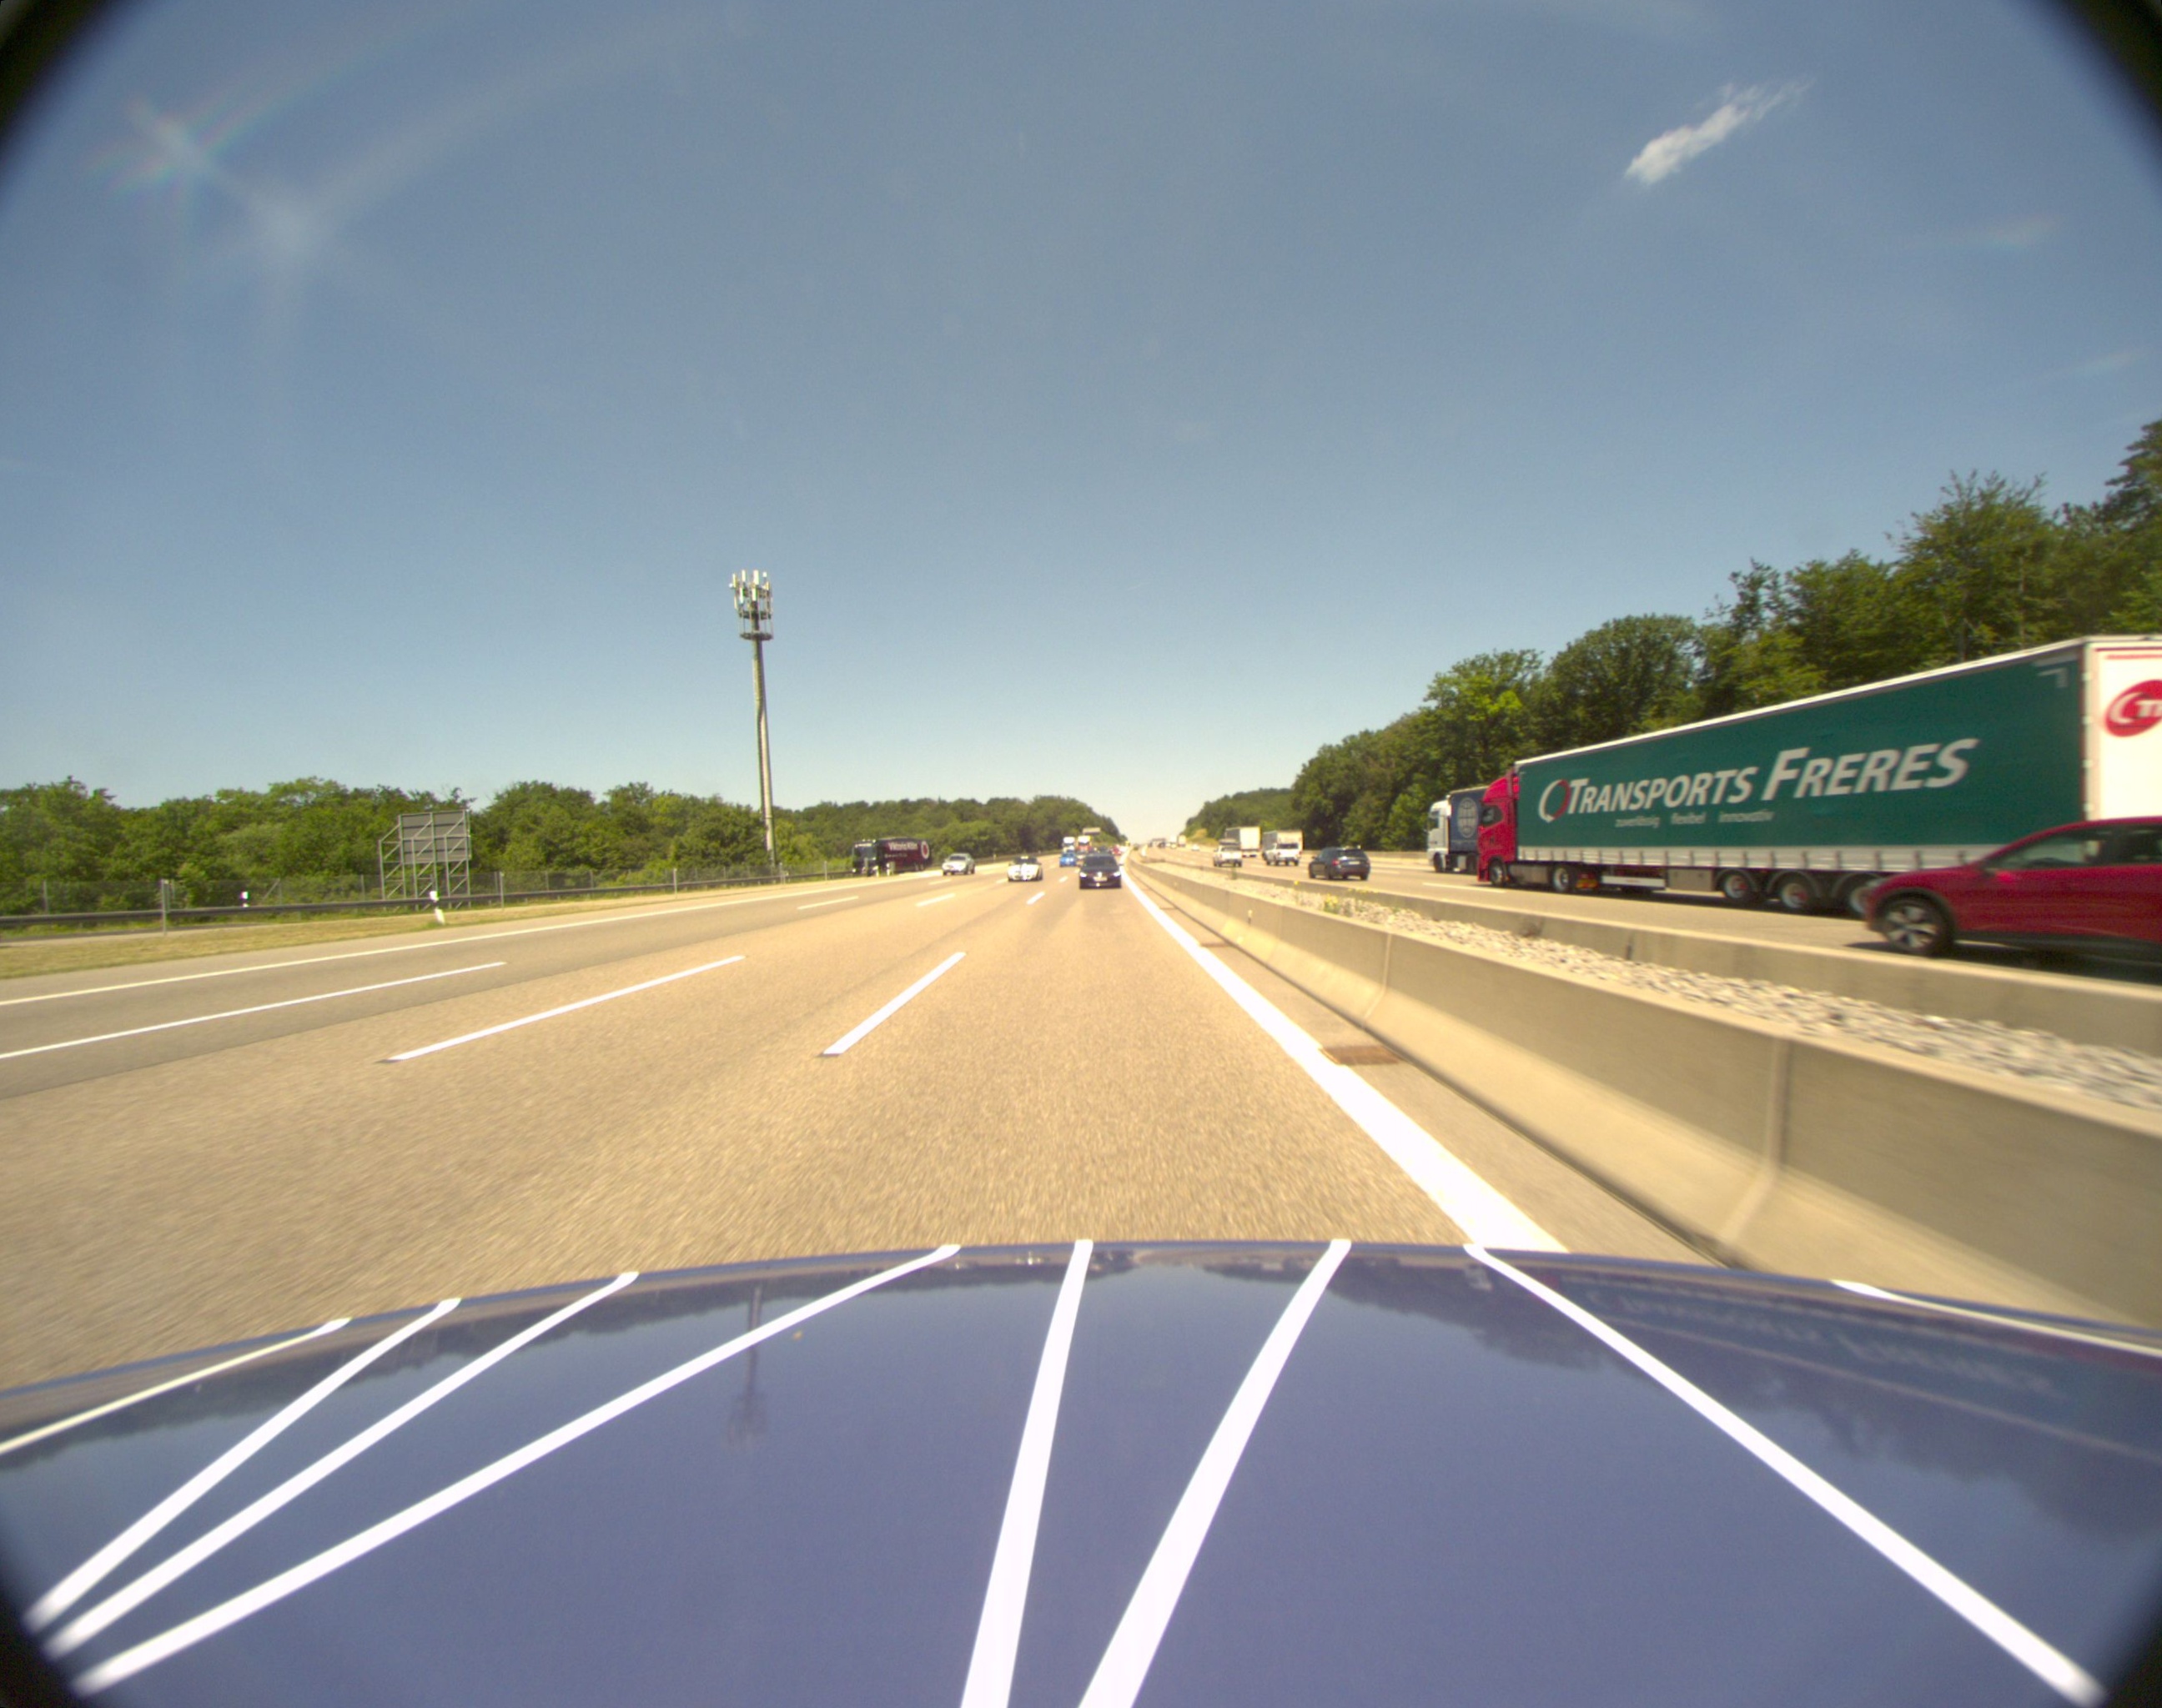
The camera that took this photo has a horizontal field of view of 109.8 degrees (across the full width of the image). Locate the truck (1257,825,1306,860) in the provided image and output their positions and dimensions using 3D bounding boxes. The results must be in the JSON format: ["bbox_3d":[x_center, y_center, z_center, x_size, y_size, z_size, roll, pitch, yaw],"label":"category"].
[{"bbox_3d":[20.683,-1.161,78.990,2.764,3.285,10.097,-1,0,2],"label":"truck"}]

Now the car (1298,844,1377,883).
[{"bbox_3d":[11.484,0.364,34.361,1.813,1.543,5.260,-2,1,1],"label":"car"}]

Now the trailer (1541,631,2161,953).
[{"bbox_3d":[14.668,-0.893,15.740,2.944,4.076,12.152,-2,1,1],"label":"trailer"}]

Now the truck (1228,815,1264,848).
[{"bbox_3d":[22.450,-3.036,103.768,2.949,4.185,9.346,-2,1,1],"label":"truck"}]

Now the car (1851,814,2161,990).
[{"bbox_3d":[10.892,0.421,7.599,1.802,1.630,4.544,-1,0,1],"label":"car"}]

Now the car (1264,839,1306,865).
[{"bbox_3d":[16.393,-0.166,61.386,2.081,1.954,5.024,-2,1,1],"label":"car"}]

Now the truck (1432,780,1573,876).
[{"bbox_3d":[19.393,-1.101,35.527,2.728,3.990,6.937,-1,0,1],"label":"truck"}]

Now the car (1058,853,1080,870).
[{"bbox_3d":[-1.207,0.734,78.388,1.998,1.521,4.233,-2,1,1],"label":"car"}]

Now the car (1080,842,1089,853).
[{"bbox_3d":[0.783,-1.341,163.706,1.453,2.225,3.713,-2,1,8],"label":"car"}]

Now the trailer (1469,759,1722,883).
[{"bbox_3d":[19.398,-1.114,29.965,2.730,3.901,10.762,-2,1,1],"label":"trailer"}]

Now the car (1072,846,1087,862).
[{"bbox_3d":[-0.165,0.003,104.961,1.998,2.002,3.999,-2,1,1],"label":"car"}]

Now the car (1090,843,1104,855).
[{"bbox_3d":[2.607,-0.805,127.868,1.999,1.848,3.998,-2,1,-3],"label":"car"}]

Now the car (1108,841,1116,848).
[{"bbox_3d":[9.350,-2.742,227.674,1.999,2.002,3.998,-2,1,-4],"label":"car"}]

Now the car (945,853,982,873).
[{"bbox_3d":[-9.111,0.672,59.021,1.998,1.521,4.001,-1,0,3],"label":"car"}]

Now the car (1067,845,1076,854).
[{"bbox_3d":[-2.178,-1.096,179.575,1.898,2.002,3.808,-2,1,3],"label":"car"}]

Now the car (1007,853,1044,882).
[{"bbox_3d":[-3.121,0.738,43.297,1.729,1.521,3.741,-1,0,1],"label":"car"}]

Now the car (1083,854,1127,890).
[{"bbox_3d":[1.096,0.746,32.962,1.760,1.430,4.001,-1,0,3],"label":"car"}]

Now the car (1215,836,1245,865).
[{"bbox_3d":[11.908,-0.308,60.973,1.861,2.180,4.066,-2,1,5],"label":"car"}]

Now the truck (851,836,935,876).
[{"bbox_3d":[-18.387,0.042,75.586,2.749,3.551,12.335,-2,1,13],"label":"truck"}]

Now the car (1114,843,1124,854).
[{"bbox_3d":[7.433,-1.090,149.048,1.998,2.001,4.001,-3,-1,2],"label":"car"}]

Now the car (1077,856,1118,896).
[{"bbox_3d":[0.675,0.804,28.805,1.447,1.376,3.050,0,1,3],"label":"car"}]

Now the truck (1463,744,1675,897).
[{"bbox_3d":[14.774,-0.946,23.588,2.931,4.079,5.615,-2,1,1],"label":"truck"}]
